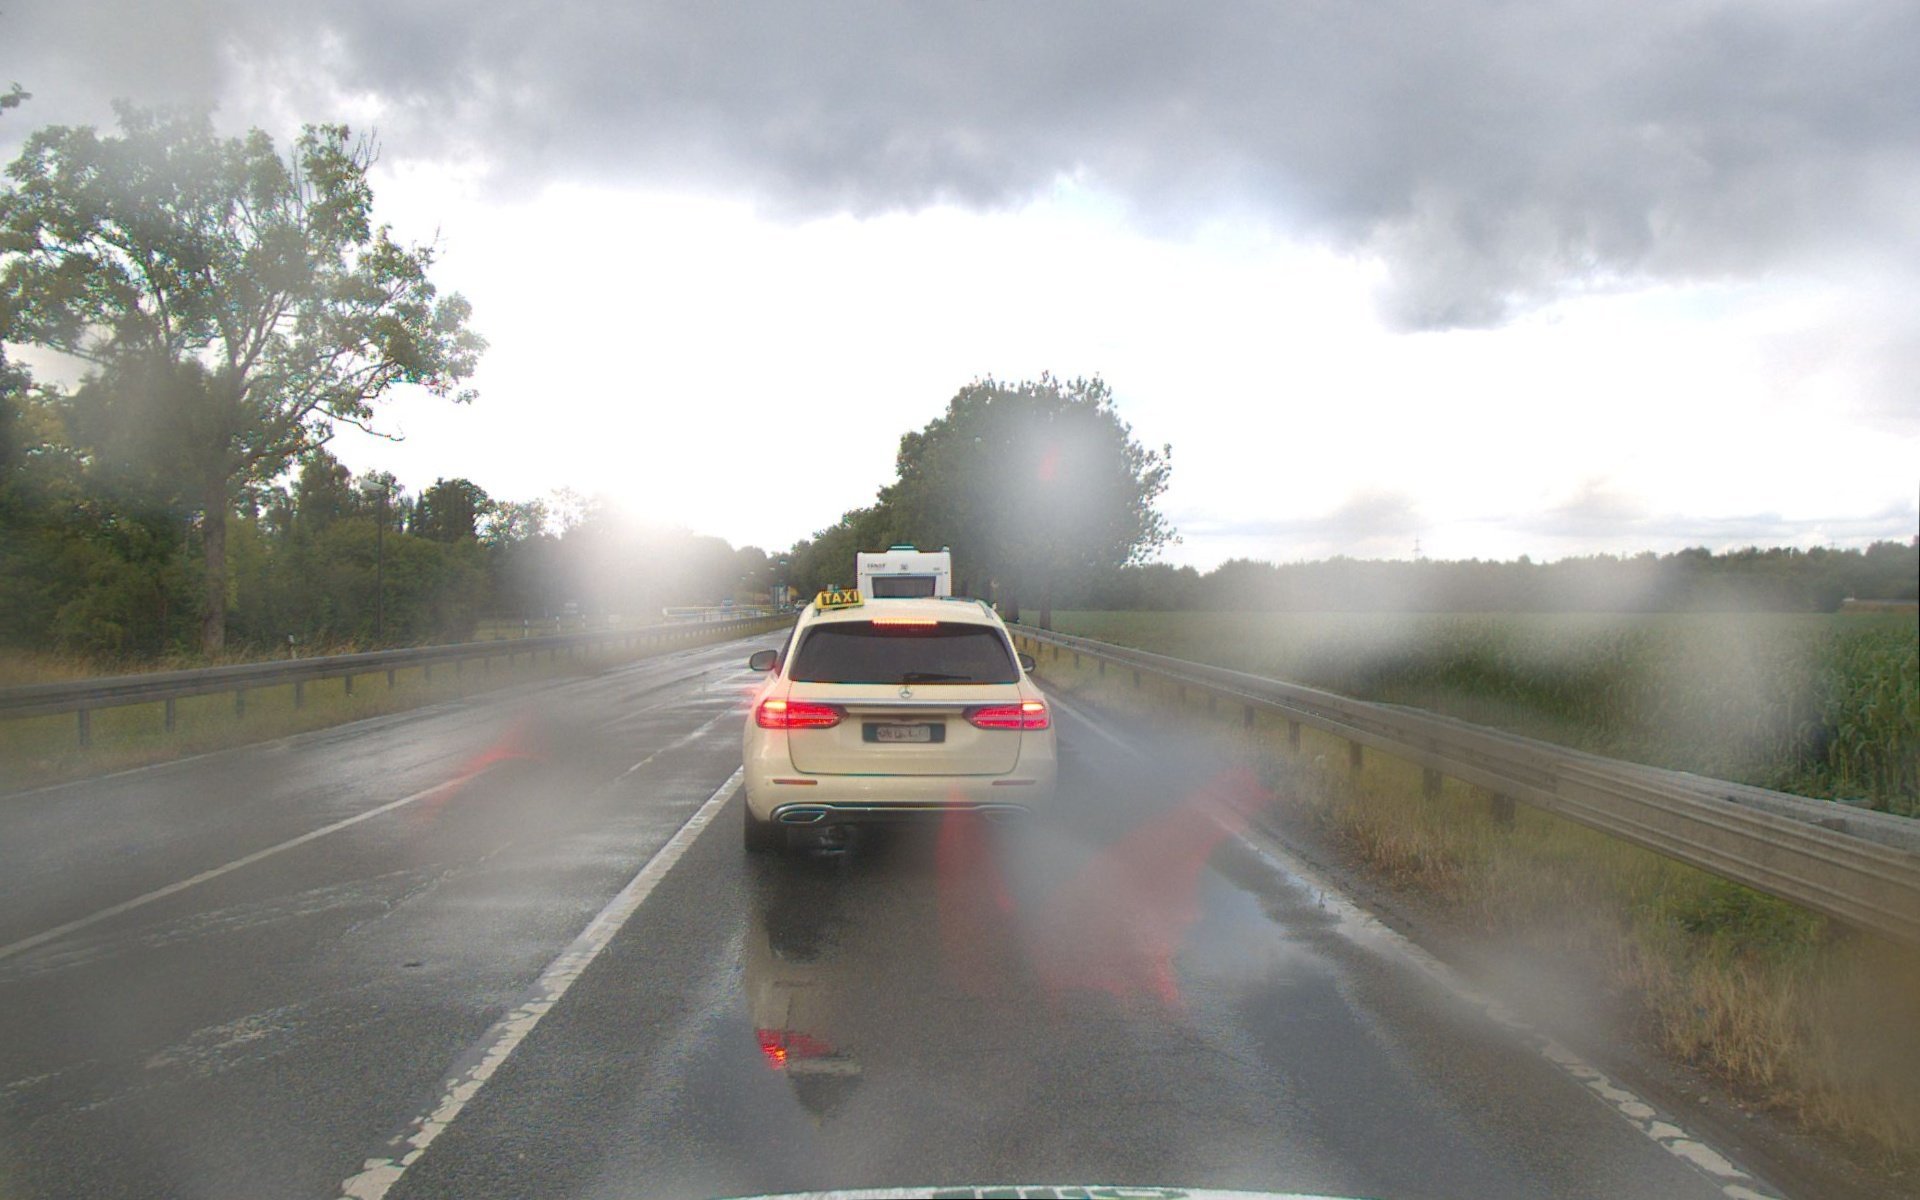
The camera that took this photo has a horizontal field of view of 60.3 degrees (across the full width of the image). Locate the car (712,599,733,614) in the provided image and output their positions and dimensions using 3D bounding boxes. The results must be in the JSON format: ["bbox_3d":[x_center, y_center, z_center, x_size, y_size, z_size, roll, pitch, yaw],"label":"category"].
[{"bbox_3d":[-27.814,0.731,193.859,1.953,1.680,3.999,0,0,0],"label":"car"}]

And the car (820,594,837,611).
[{"bbox_3d":[-16.202,0.322,203.623,1.954,2.049,3.997,0,0,-4],"label":"car"}]

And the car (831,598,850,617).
[{"bbox_3d":[-13.738,0.872,191.062,1.953,2.087,3.999,0,0,-1],"label":"car"}]

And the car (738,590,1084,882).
[{"bbox_3d":[-0.269,0.707,10.645,1.788,1.511,4.144,0,0,-1],"label":"car"}]

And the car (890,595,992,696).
[{"bbox_3d":[-0.351,0.701,27.768,1.594,1.556,3.931,0,0,-2],"label":"car"}]

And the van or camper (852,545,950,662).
[{"bbox_3d":[-1.466,0.065,41.638,2.303,2.727,5.766,0,0,-2],"label":"van or camper"}]

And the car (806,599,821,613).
[{"bbox_3d":[-21.165,0.883,238.888,1.955,2.049,3.994,0,0,-7],"label":"car"}]
